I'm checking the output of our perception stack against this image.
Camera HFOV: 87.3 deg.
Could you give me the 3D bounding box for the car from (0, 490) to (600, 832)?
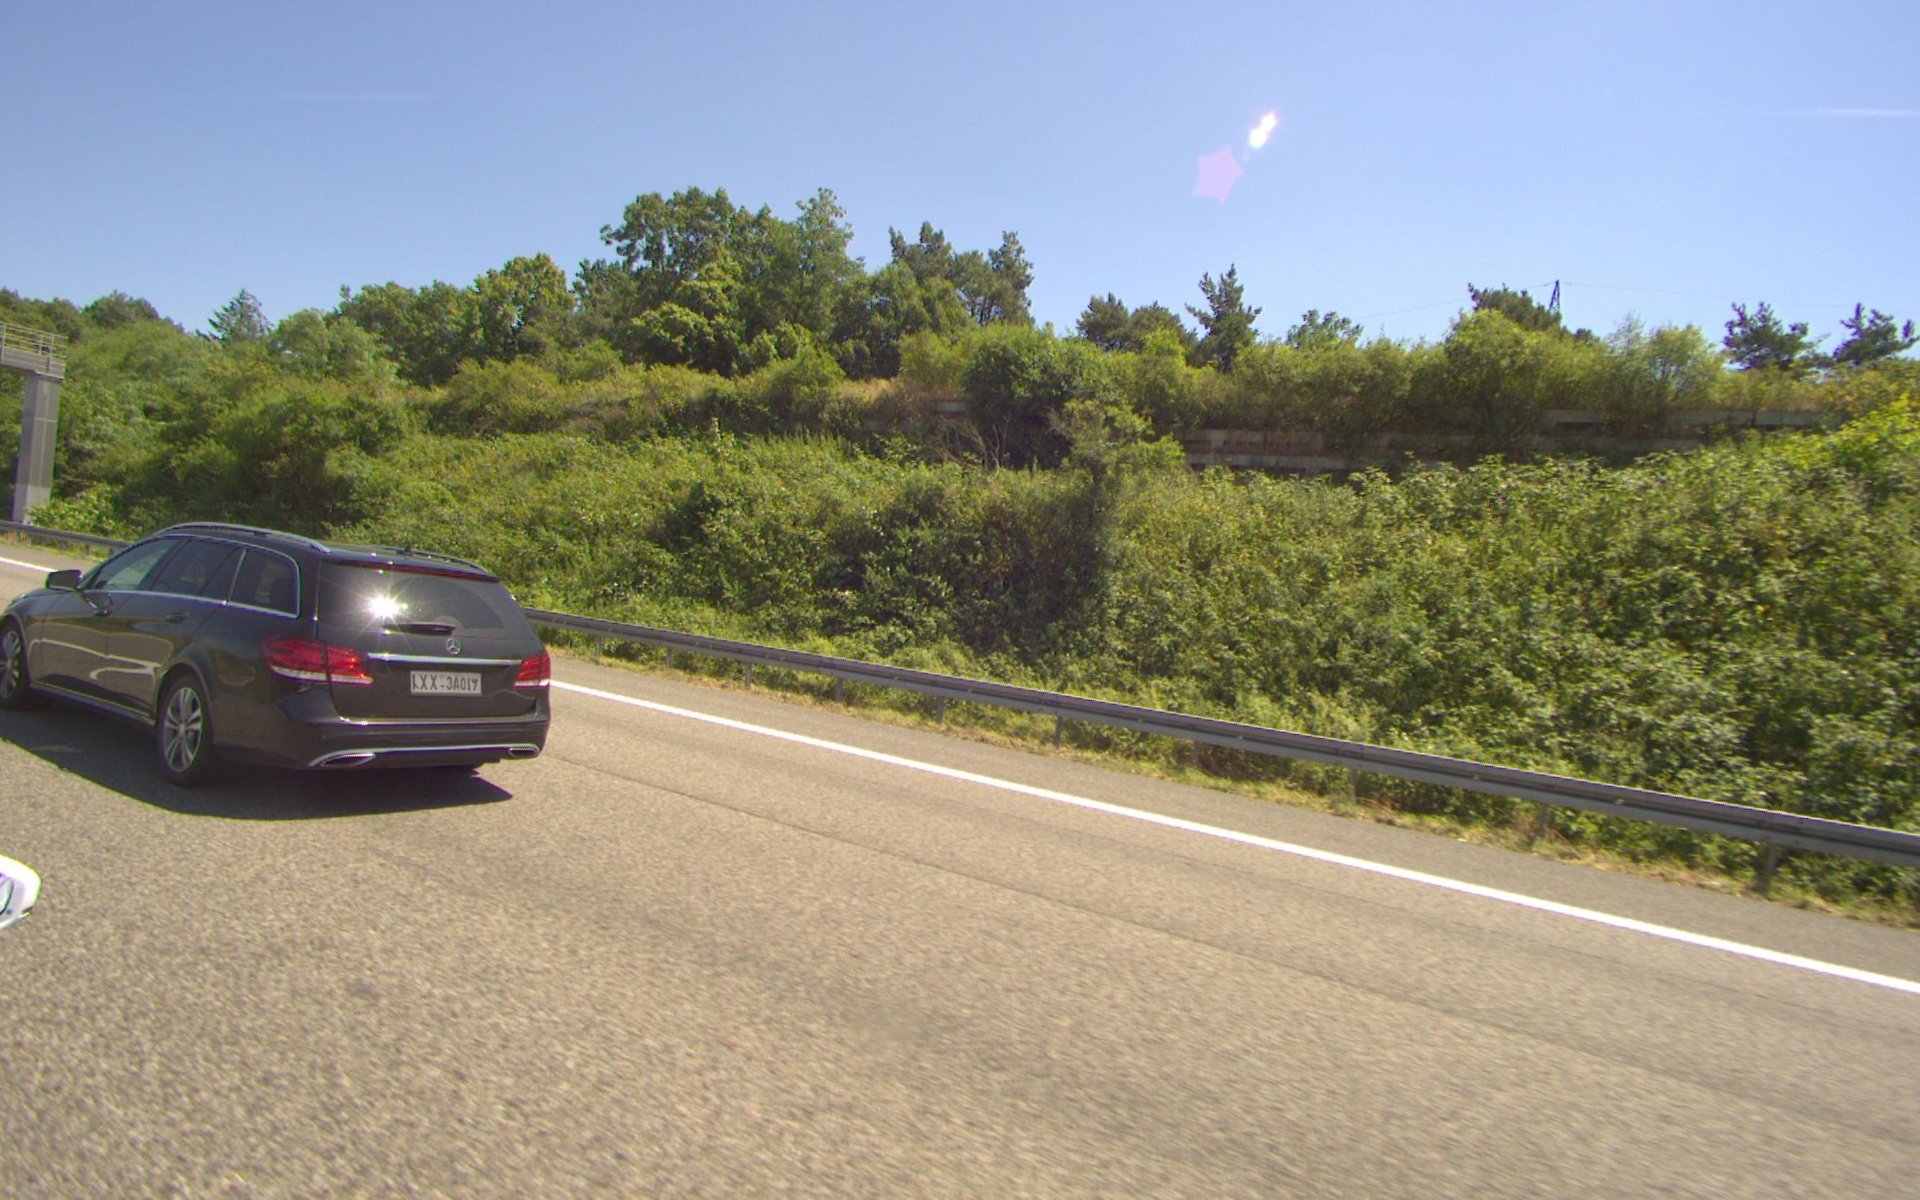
[{"bbox_3d":[-4.889,0.226,7.073,4.659,1.524,1.843,7,1,32],"label":"car"}]
